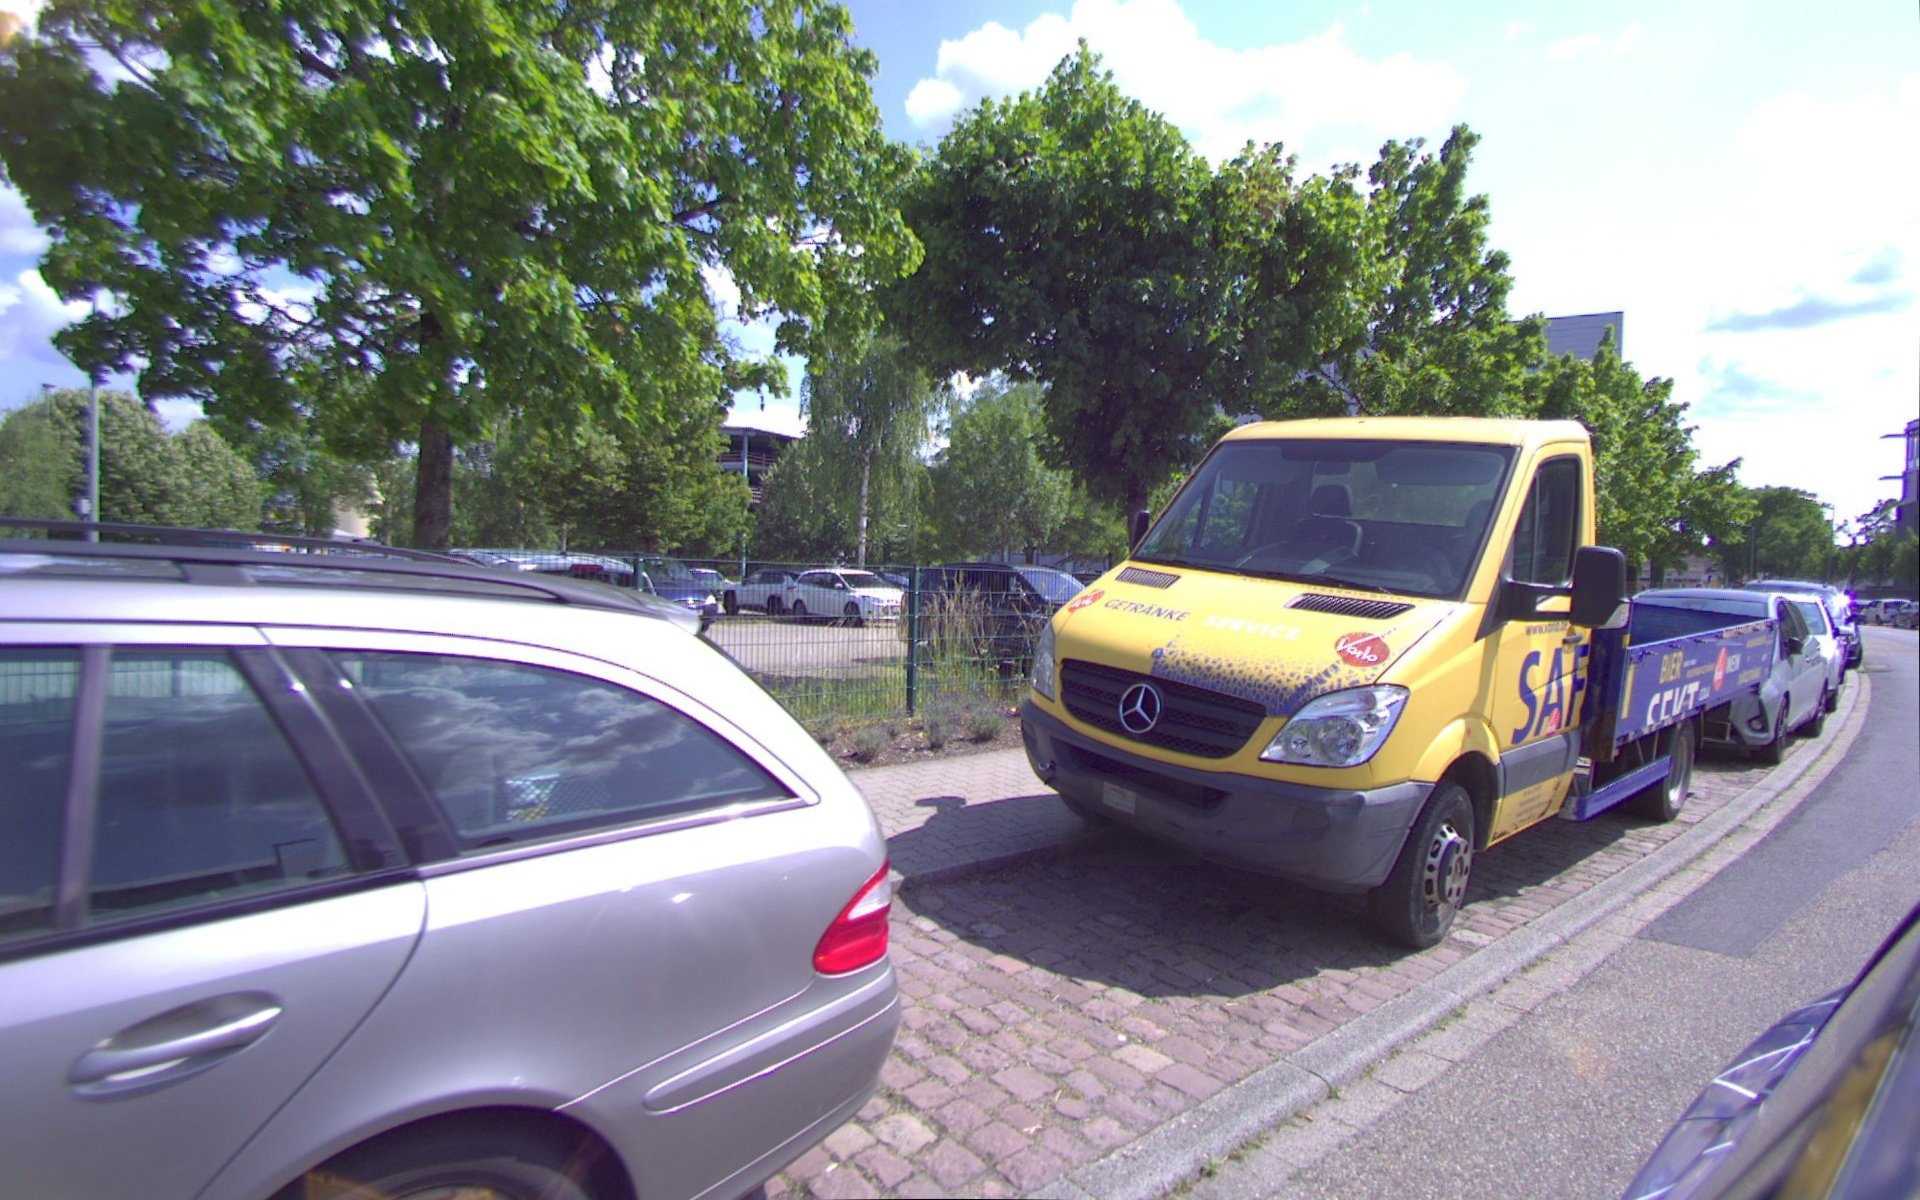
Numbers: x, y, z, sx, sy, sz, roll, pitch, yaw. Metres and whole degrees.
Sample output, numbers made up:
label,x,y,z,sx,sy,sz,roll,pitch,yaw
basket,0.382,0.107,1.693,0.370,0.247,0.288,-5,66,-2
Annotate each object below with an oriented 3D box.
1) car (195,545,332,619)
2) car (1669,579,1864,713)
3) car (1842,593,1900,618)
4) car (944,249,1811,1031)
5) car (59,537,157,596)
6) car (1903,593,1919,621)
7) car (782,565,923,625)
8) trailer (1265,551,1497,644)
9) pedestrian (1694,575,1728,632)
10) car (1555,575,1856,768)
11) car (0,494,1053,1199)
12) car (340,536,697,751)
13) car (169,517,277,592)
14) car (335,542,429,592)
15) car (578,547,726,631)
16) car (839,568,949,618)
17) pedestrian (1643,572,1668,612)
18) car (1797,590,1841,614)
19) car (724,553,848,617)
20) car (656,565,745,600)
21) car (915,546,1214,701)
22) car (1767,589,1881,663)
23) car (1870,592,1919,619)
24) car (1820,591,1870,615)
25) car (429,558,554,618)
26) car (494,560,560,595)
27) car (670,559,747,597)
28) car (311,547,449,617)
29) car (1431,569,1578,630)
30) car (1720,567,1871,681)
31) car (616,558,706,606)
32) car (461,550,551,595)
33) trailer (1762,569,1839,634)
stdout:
label,x,y,z,sx,sy,sz,roll,pitch,yaw
car,-16.276,-0.456,23.564,1.967,1.576,4.271,-1,2,-44
car,11.549,0.516,14.365,1.832,1.510,4.585,4,3,42
car,55.314,0.289,61.515,1.655,1.422,3.962,1,1,27
car,3.107,0.054,6.196,6.524,2.495,2.162,-1,3,-41
car,-24.592,-0.925,29.167,1.967,1.576,3.991,0,1,-43
car,50.428,0.383,52.222,1.652,1.414,4.064,0,1,29
car,-2.912,-0.170,26.738,1.698,1.455,4.170,0,1,-39
trailer,10.594,-0.149,25.738,5.044,2.108,2.031,3,2,41
pedestrian,23.382,0.106,31.489,0.720,1.714,0.729,5,3,38
car,7.612,0.549,10.200,3.882,1.513,1.688,-1,3,-43
car,-2.334,0.562,1.401,5.078,1.494,1.880,-1,5,-41
car,-4.556,0.244,10.094,4.318,1.641,1.736,4,3,44
car,-22.893,-1.318,31.339,2.076,2.130,4.930,0,1,-44
car,-19.561,-1.079,34.156,1.859,1.576,3.990,0,1,-44
car,-6.918,-0.275,22.442,1.804,1.661,4.494,0,1,-35
car,-2.448,-0.286,37.080,3.987,1.686,1.828,2,2,44
pedestrian,30.052,-0.335,43.732,0.725,1.666,0.572,7,3,36
car,60.268,0.103,71.065,1.554,1.534,3.707,3,2,28
car,-5.750,-0.537,33.144,4.081,1.959,1.967,2,2,44
car,-11.031,-0.759,42.922,3.988,1.391,1.870,2,2,44
car,1.494,0.235,15.775,4.331,1.690,1.828,10,7,43
car,20.592,0.541,24.218,1.840,1.478,4.799,5,4,40
car,52.973,0.280,56.975,1.650,1.500,3.485,0,1,26
car,57.635,0.176,65.970,1.554,1.473,3.707,3,2,28
car,-12.456,-0.304,26.812,3.749,1.431,1.725,1,-1,44
car,-22.949,-1.178,53.551,1.967,1.792,3.990,0,1,-43
car,-12.475,-1.070,50.076,1.967,1.792,3.989,0,1,-44
car,-14.310,-0.474,24.857,1.967,1.576,4.271,-1,2,-44
car,20.064,-0.052,37.340,4.460,1.990,1.972,3,1,38
car,15.804,0.344,19.037,1.850,1.787,4.999,5,4,42
car,-17.403,-1.030,58.664,2.703,2.631,5.784,0,1,-43
car,-16.908,-0.981,37.601,1.859,1.576,3.990,0,1,-44
trailer,30.183,0.006,36.432,1.742,2.092,3.896,5,4,36
